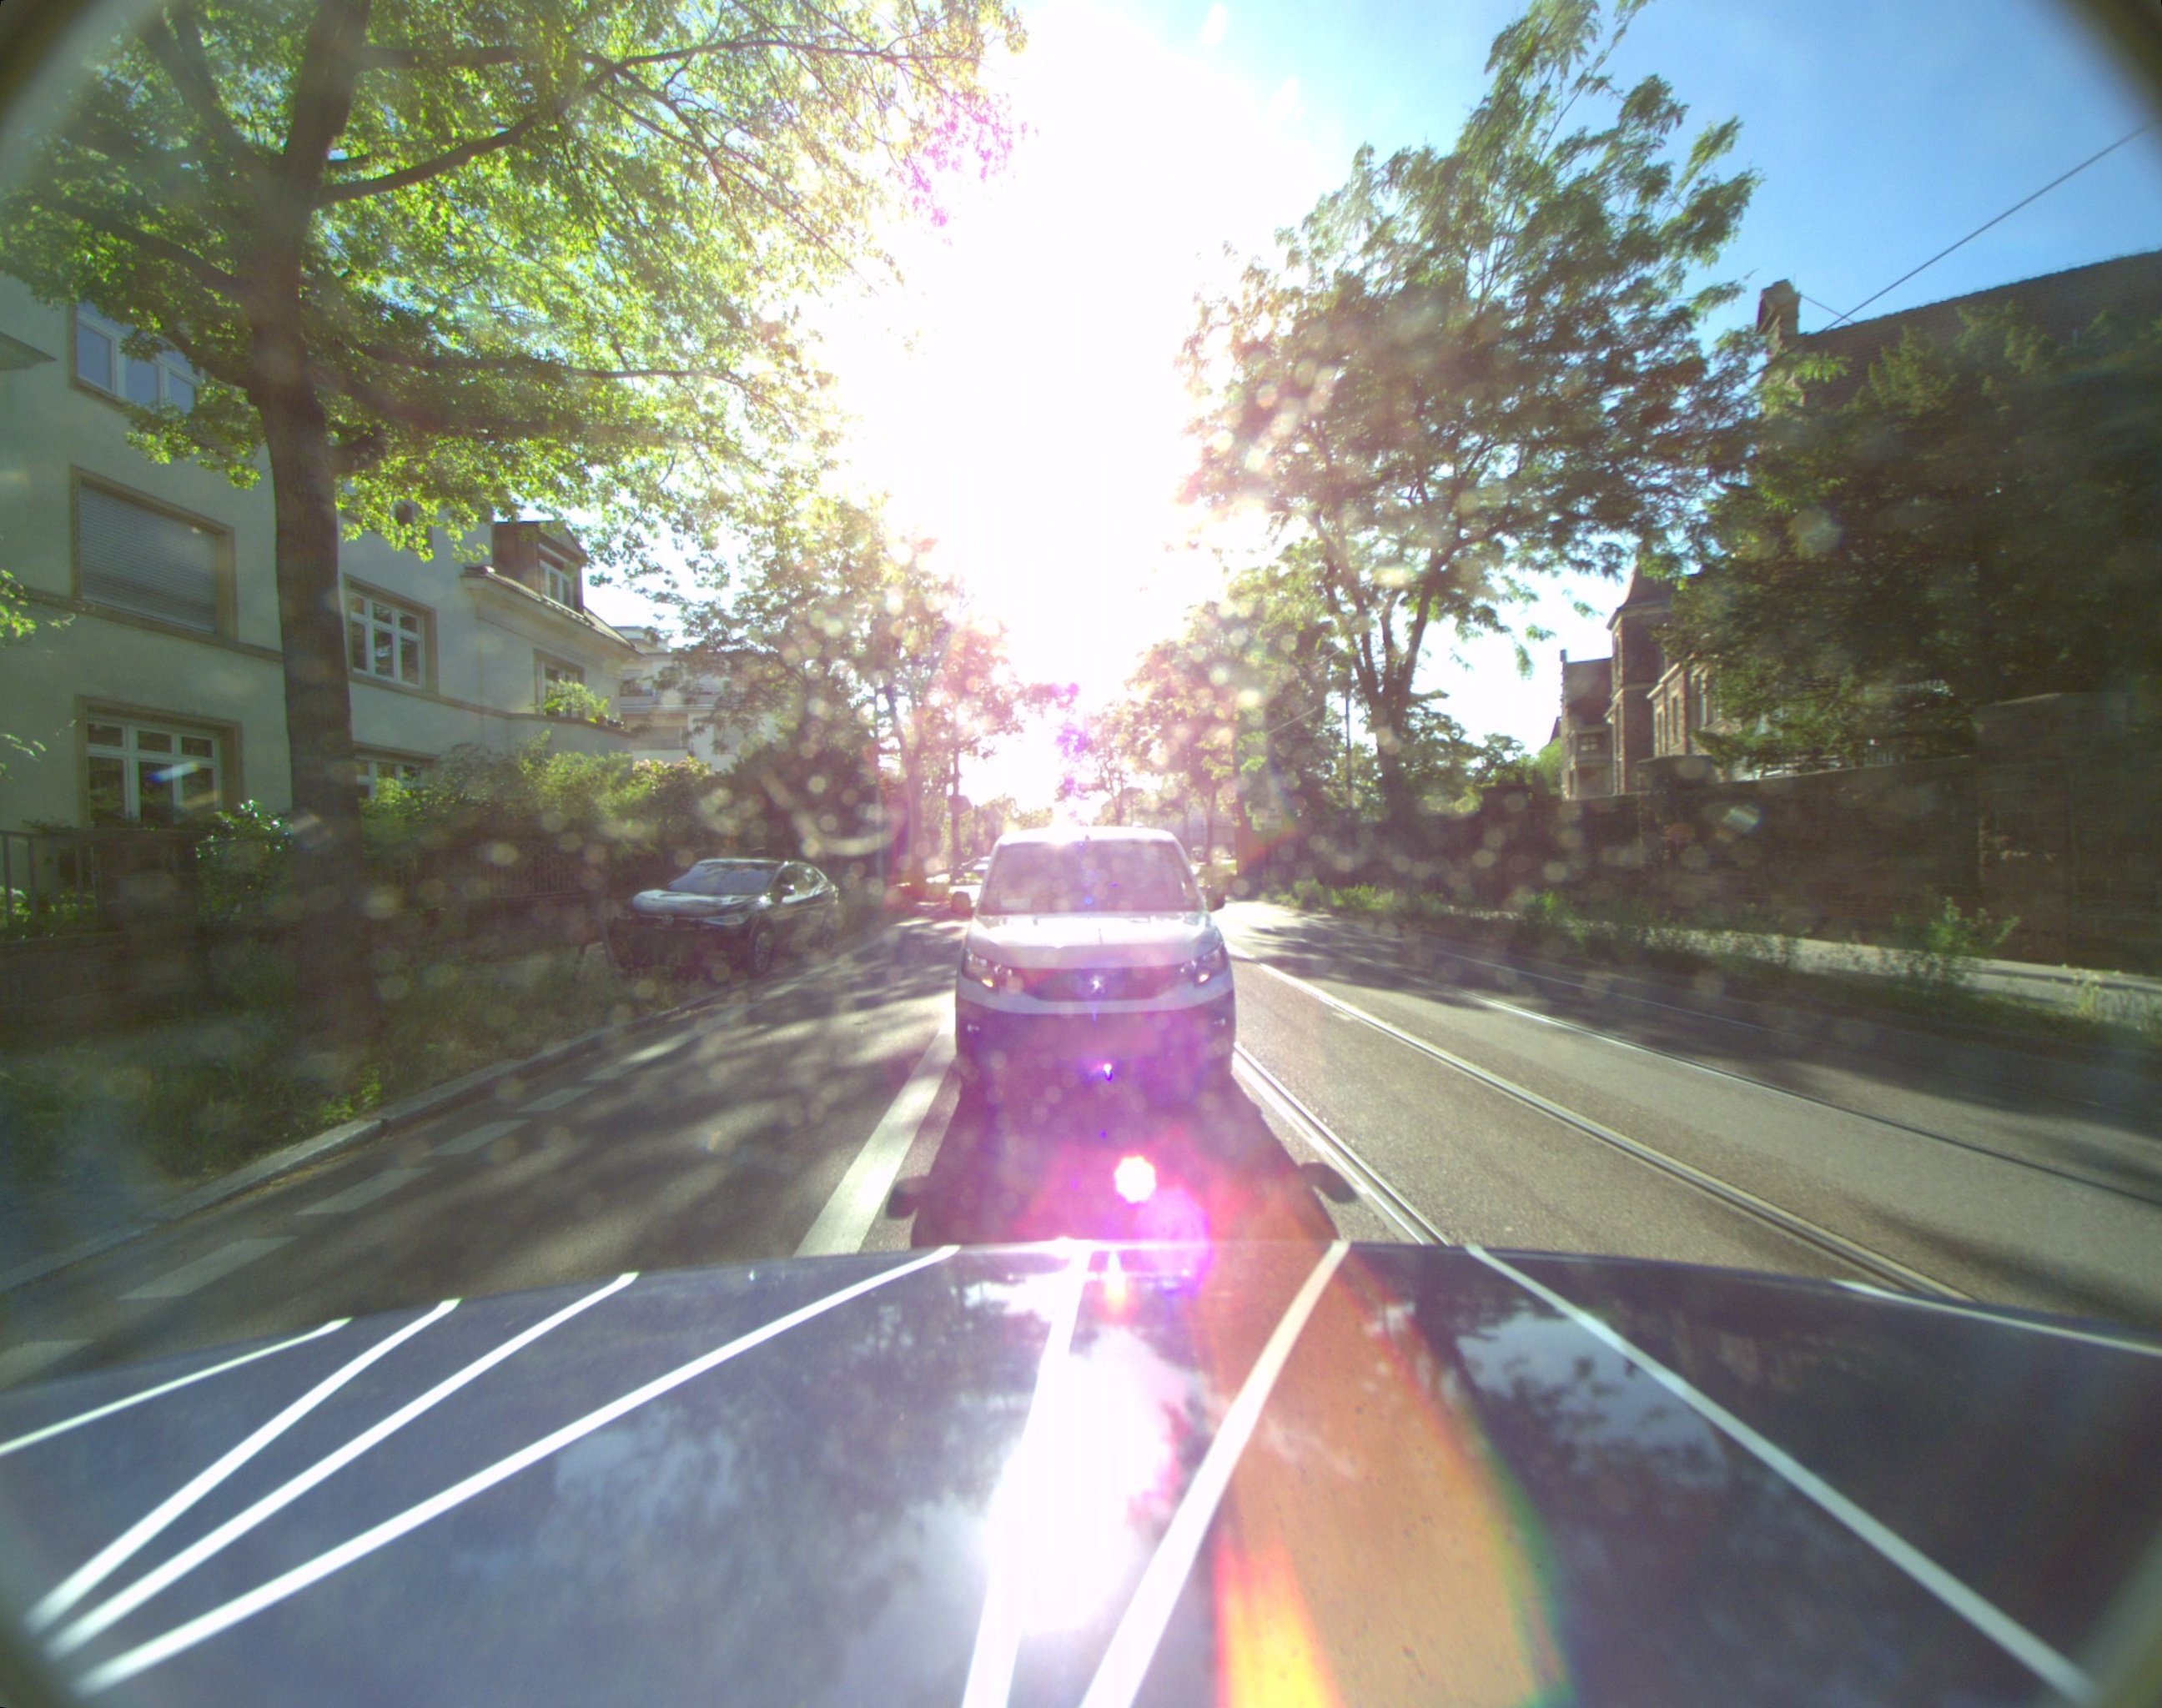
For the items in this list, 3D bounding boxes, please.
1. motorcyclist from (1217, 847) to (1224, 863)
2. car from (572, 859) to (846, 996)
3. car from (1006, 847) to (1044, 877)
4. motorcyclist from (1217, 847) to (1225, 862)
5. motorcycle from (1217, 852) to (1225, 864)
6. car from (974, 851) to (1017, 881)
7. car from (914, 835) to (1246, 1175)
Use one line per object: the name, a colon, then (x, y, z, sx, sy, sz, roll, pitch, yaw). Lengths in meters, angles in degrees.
motorcyclist: (13.417, 0.132, 73.033, 0.607, 1.507, 0.466, -1, 1, 15)
car: (-5.260, 0.941, 11.546, 1.999, 1.665, 4.380, 1, -1, 0)
car: (-3.802, 0.503, 51.954, 2.129, 1.884, 4.746, -2, 0, 1)
motorcyclist: (13.547, 0.073, 73.556, 0.684, 1.432, 0.447, -1, 1, 13)
motorcycle: (13.546, 0.402, 73.478, 0.610, 1.087, 1.858, -1, 0, 15)
car: (-5.057, 0.672, 45.220, 1.823, 1.630, 4.001, -2, 0, 4)
car: (-0.011, 0.811, 6.102, 1.768, 1.812, 3.999, -1, 0, 0)
